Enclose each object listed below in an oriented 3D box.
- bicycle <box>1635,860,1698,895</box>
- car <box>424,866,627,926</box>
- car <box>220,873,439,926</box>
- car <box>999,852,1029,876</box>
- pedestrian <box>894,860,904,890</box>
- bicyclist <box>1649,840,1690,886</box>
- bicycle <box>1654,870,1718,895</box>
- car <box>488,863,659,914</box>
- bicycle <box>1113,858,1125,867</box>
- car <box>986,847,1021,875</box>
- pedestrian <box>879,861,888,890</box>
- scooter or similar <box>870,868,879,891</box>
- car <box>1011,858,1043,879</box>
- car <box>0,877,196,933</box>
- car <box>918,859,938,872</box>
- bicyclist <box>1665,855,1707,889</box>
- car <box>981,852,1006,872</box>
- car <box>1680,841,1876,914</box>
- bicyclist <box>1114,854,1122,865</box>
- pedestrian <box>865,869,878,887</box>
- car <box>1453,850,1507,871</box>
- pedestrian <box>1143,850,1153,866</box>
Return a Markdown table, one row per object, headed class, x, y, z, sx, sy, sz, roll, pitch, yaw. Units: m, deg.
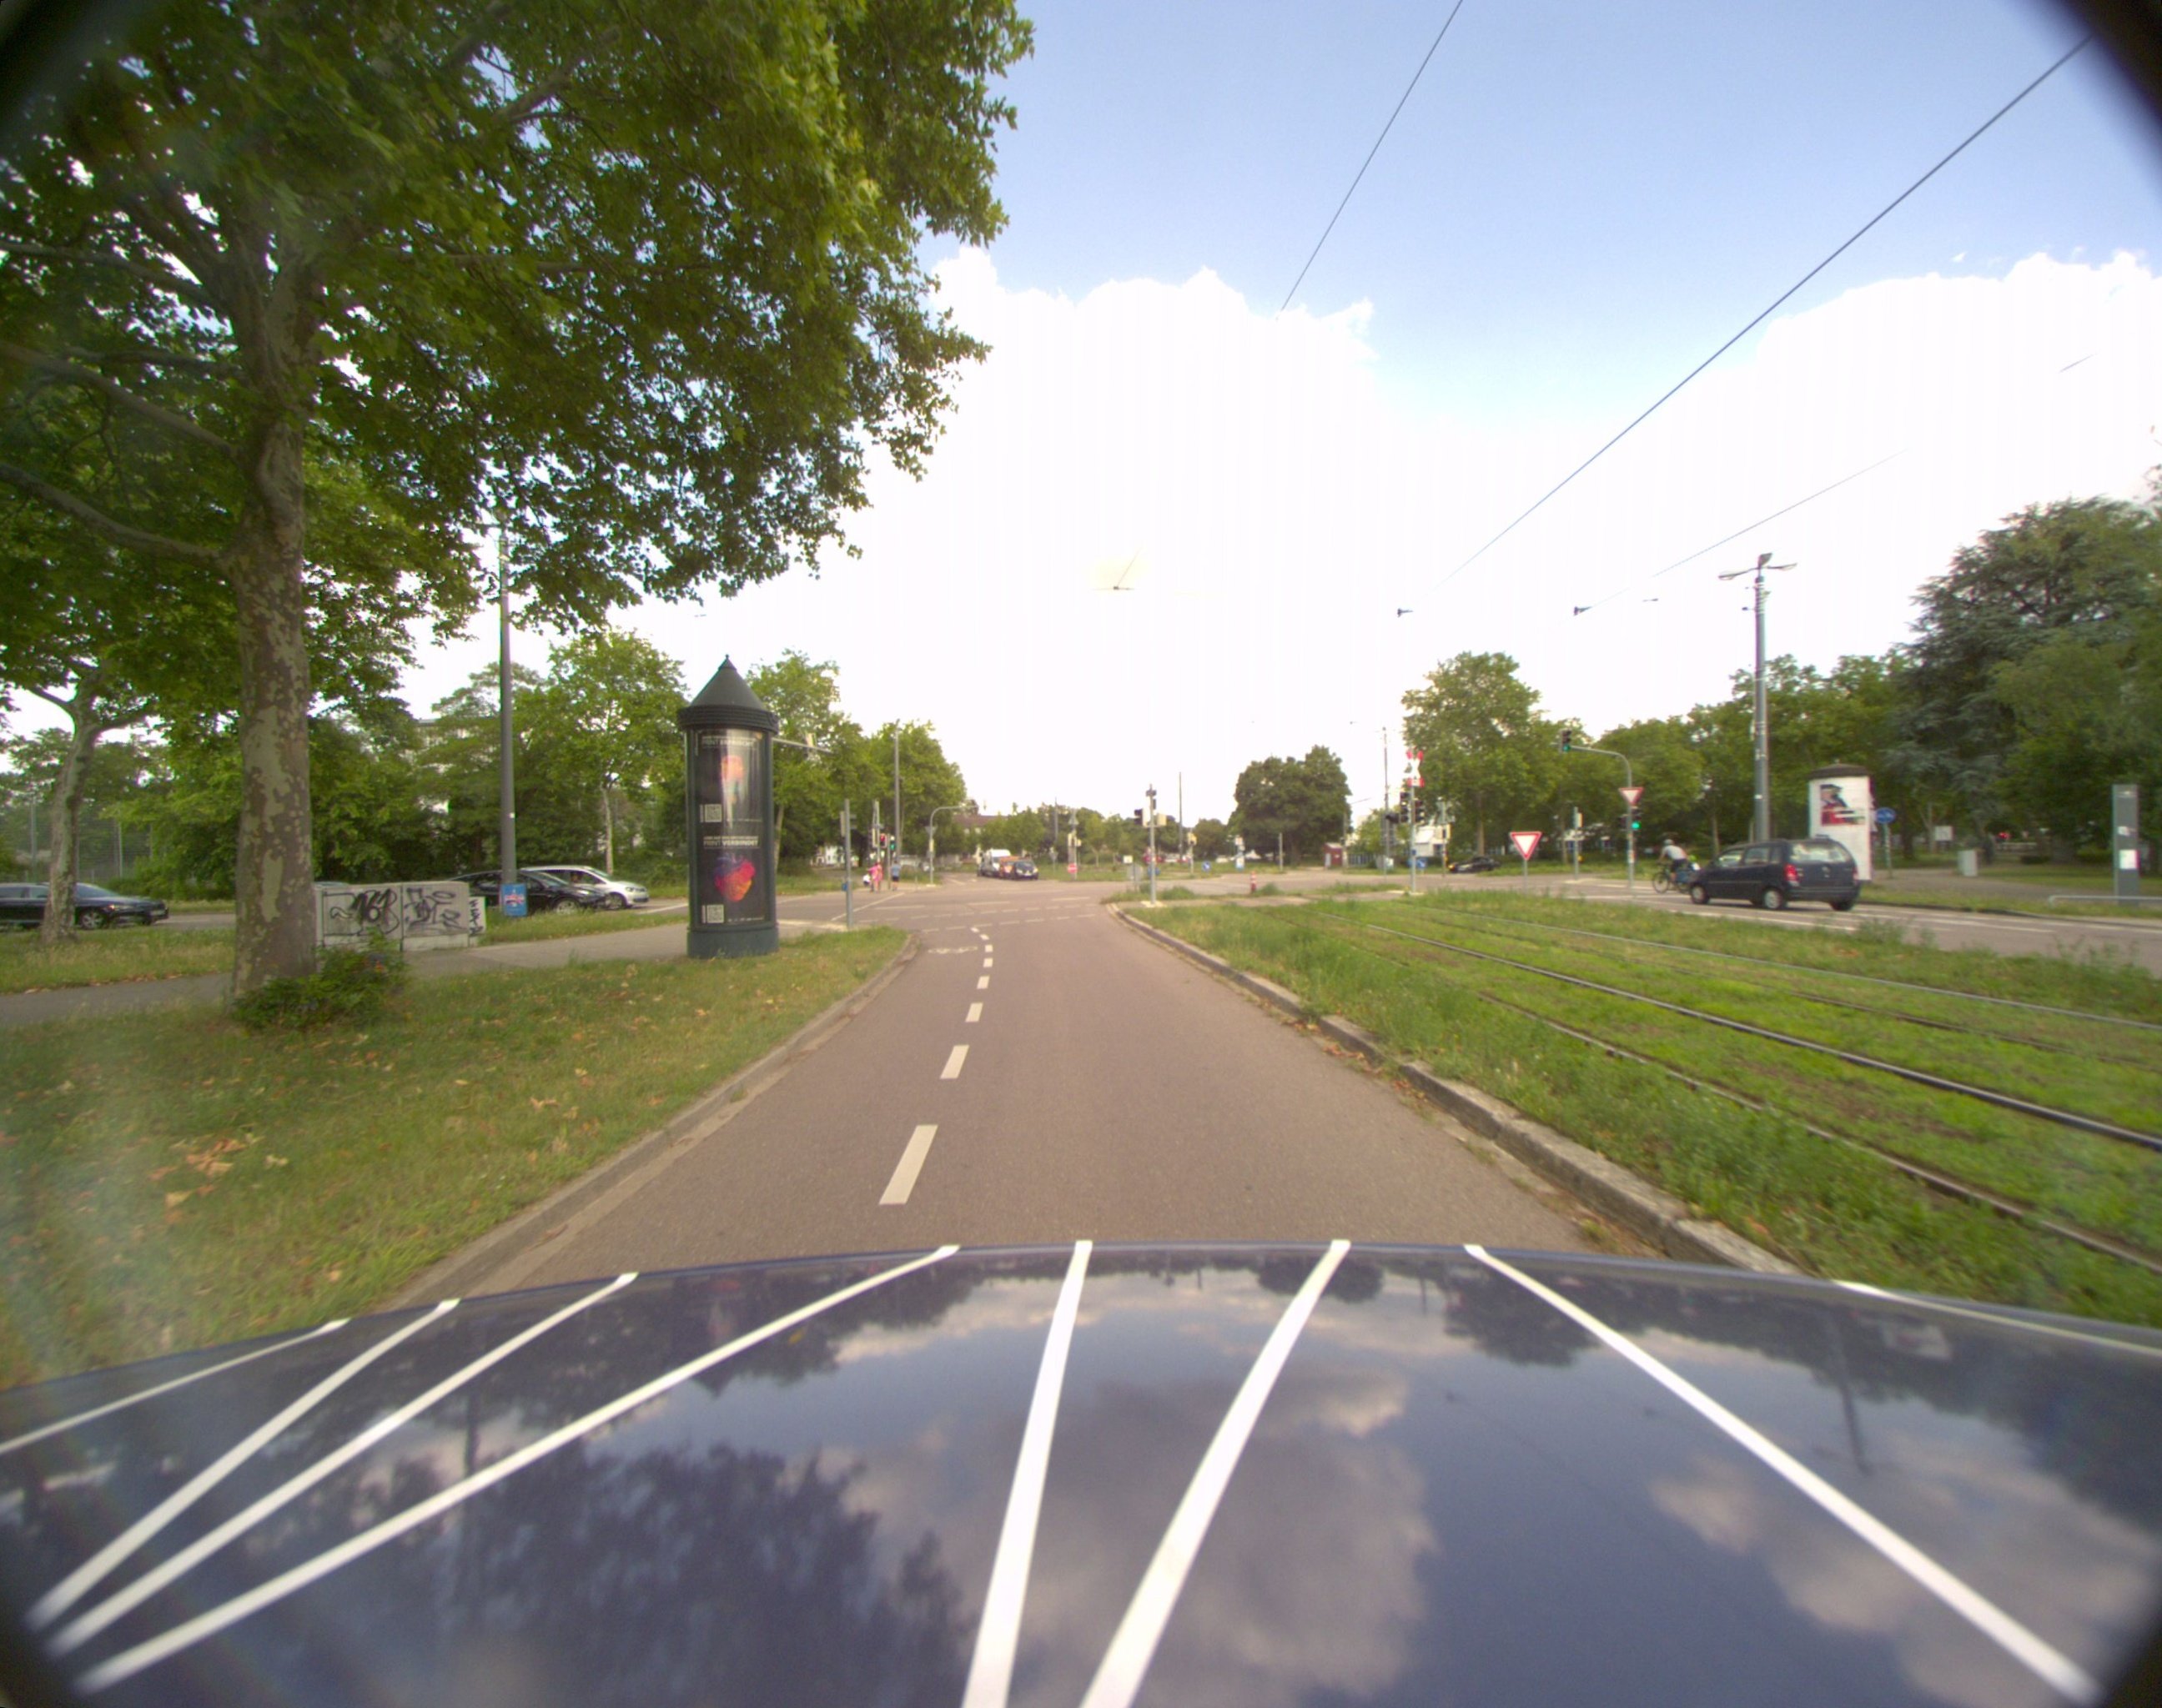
| class | x | y | z | sx | sy | sz | roll | pitch | yaw |
| --- | --- | --- | --- | --- | --- | --- | --- | --- | --- |
| bicycle | 19.186 | 0.753 | 24.953 | 0.647 | 1.073 | 1.804 | -1 | 0 | -1 |
| car | -17.248 | 1.259 | 23.863 | 4.689 | 1.601 | 1.997 | -1 | 1 | -15 |
| car | -24.748 | 1.456 | 25.263 | 4.752 | 1.461 | 1.997 | -1 | 1 | -16 |
| car | -5.773 | 0.872 | 64.974 | 1.797 | 1.924 | 4.363 | -2 | 0 | -14 |
| pedestrian | -9.475 | 1.093 | 39.579 | 0.420 | 1.499 | 0.450 | -1 | 1 | -17 |
| bicyclist | 19.184 | 0.288 | 24.781 | 0.625 | 1.449 | 0.928 | -1 | 1 | -2 |
| bicycle | 19.866 | 0.922 | 25.002 | 0.647 | 0.713 | 1.804 | -1 | 0 | -1 |
| car | -18.172 | 1.196 | 27.469 | 4.689 | 1.601 | 1.997 | -1 | 1 | -16 |
| bicycle | 5.126 | 1.174 | 103.127 | 0.805 | 1.053 | 2.066 | -2 | -1 | -19 |
| car | -7.340 | 0.618 | 71.320 | 2.241 | 2.492 | 5.718 | -2 | 0 | -15 |
| pedestrian | -10.234 | 1.109 | 39.361 | 0.420 | 1.499 | 0.392 | -1 | 1 | -17 |
| scooter or similar | -10.640 | 1.288 | 39.143 | 0.396 | 1.154 | 1.114 | -1 | 1 | -19 |
| car | -4.219 | 1.075 | 59.084 | 1.797 | 1.530 | 3.995 | -2 | 0 | -14 |
| car | -31.389 | 1.558 | 23.598 | 4.689 | 1.505 | 1.997 | -1 | 1 | -16 |
| car | -21.175 | 1.543 | 104.960 | 1.870 | 1.635 | 4.226 | -2 | 0 | -23 |
| bicyclist | 19.854 | 0.583 | 24.947 | 0.641 | 1.106 | 0.928 | -1 | 1 | -2 |
| car | -8.876 | 0.806 | 76.839 | 1.797 | 1.924 | 4.363 | -2 | 0 | -15 |
| car | 16.887 | 0.506 | 18.668 | 1.782 | 1.617 | 3.496 | -1 | 1 | 5 |
| bicyclist | 5.048 | 0.746 | 103.300 | 0.805 | 1.461 | 0.831 | -2 | -1 | -19 |
| pedestrian | -12.738 | 1.467 | 46.184 | 0.723 | 1.028 | 0.900 | -1 | 0 | -15 |
| car | 30.004 | 0.469 | 57.087 | 3.862 | 1.515 | 1.695 | -1 | 1 | -27 |
| pedestrian | 8.024 | 0.495 | 91.058 | 0.909 | 1.857 | 1.001 | -1 | 1 | -18 |
